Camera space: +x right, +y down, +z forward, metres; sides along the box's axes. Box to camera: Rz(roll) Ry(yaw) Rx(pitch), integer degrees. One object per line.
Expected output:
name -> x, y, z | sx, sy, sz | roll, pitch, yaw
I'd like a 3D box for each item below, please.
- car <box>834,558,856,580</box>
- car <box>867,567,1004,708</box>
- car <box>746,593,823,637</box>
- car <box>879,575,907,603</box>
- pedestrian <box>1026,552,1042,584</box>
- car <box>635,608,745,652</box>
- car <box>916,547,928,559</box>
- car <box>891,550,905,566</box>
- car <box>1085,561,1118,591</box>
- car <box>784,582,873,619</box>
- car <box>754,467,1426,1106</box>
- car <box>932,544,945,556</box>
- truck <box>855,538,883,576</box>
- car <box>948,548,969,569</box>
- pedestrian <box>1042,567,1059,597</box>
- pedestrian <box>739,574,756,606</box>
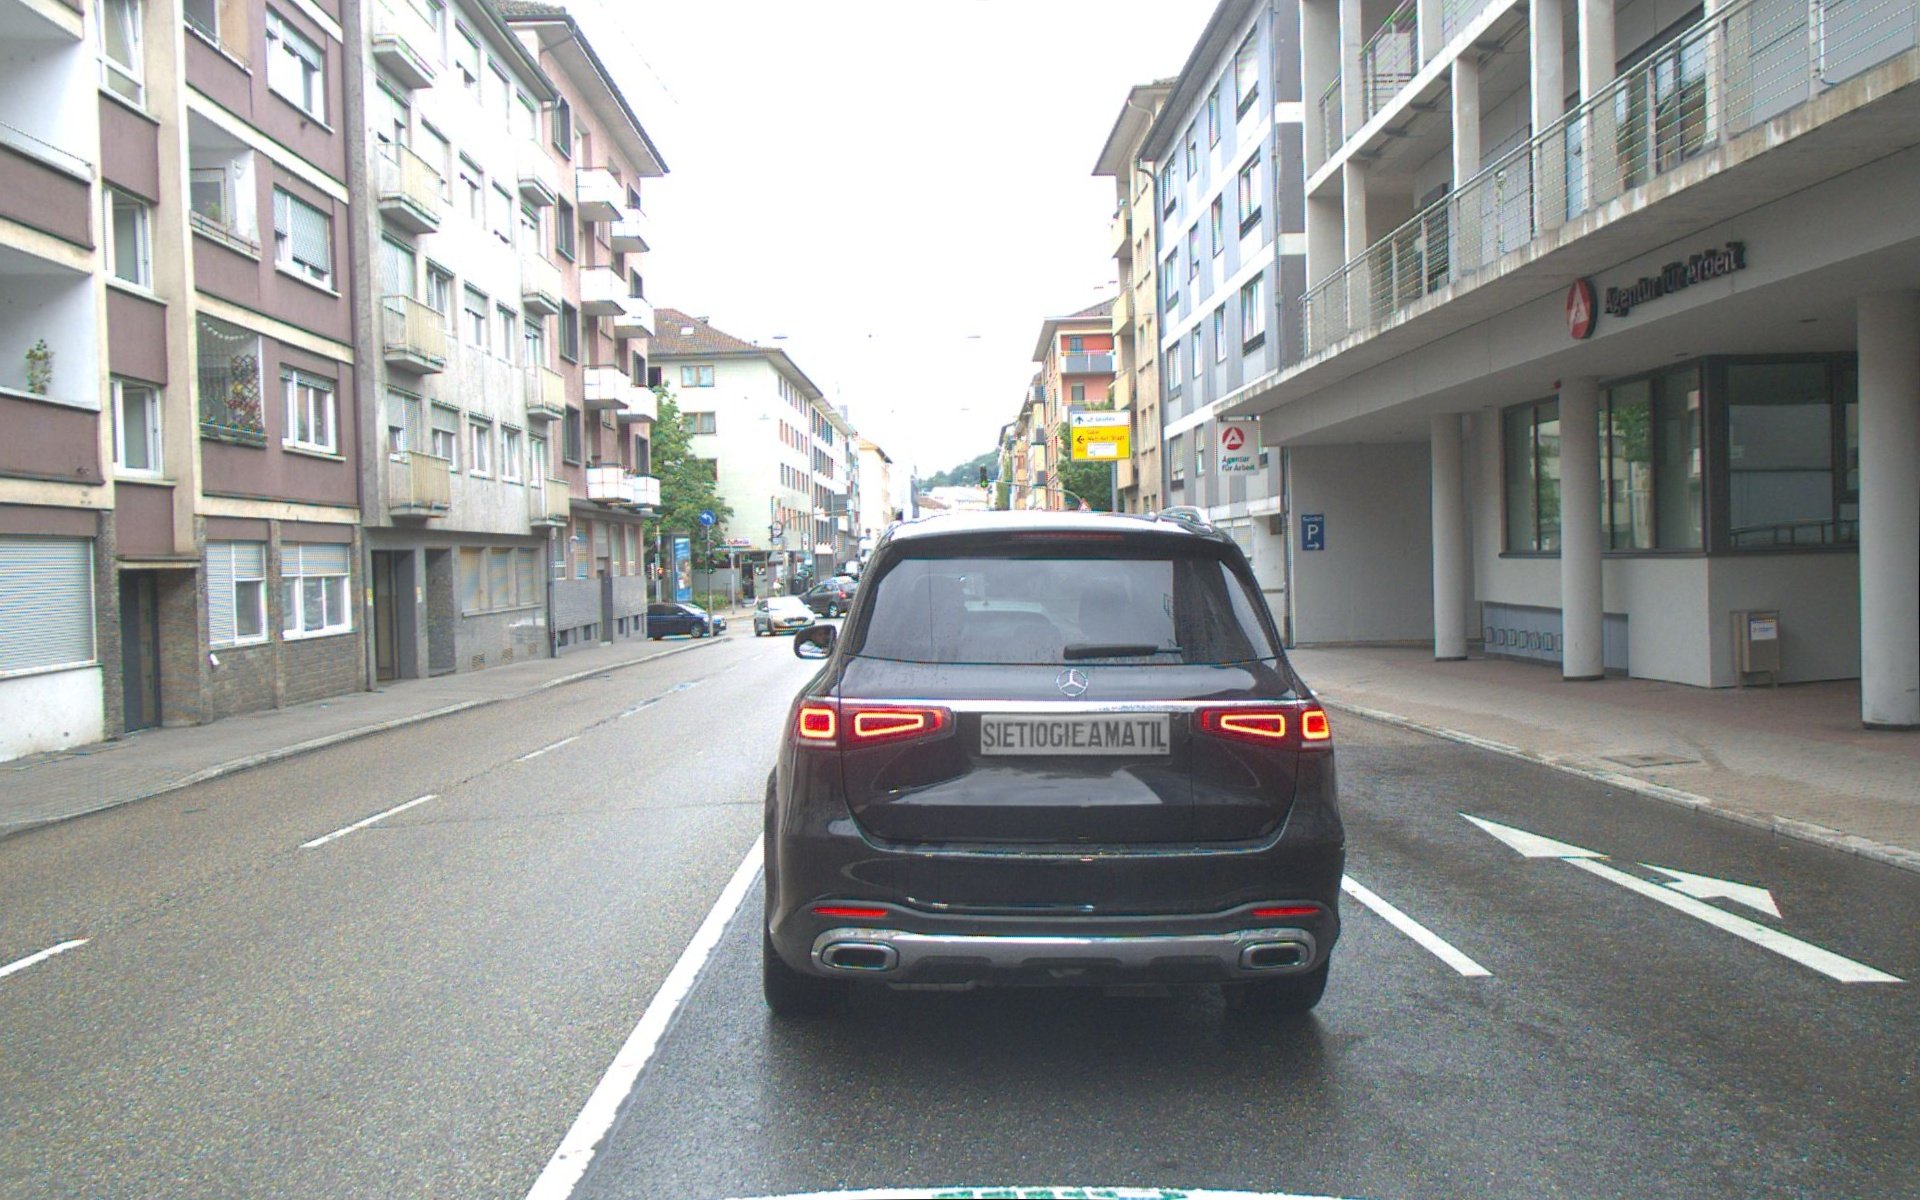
car -> -9.113, -2.472, 131.510 | 1.586, 1.566, 4.215 | -3, 0, -3
car -> -0.416, 0.487, 23.272 | 1.716, 1.762, 4.215 | -1, 0, -3
car -> -6.983, 0.613, 65.375 | 1.749, 1.566, 4.326 | -3, 0, -23
car -> -4.121, -0.633, 101.184 | 1.586, 1.566, 4.215 | -3, 0, -3
pedestrian -> 4.792, -2.076, 107.408 | 0.904, 2.049, 0.706 | -2, 0, -3
car -> -11.731, 1.285, 72.009 | 4.259, 1.735, 2.002 | -2, 0, 9
car -> -5.781, -7.164, 250.081 | 1.586, 1.566, 4.215 | -3, 0, -3
car -> -7.268, -4.917, 193.619 | 1.586, 1.566, 4.215 | -3, 0, -3
car -> 8.097, -1.346, 94.648 | 1.636, 1.616, 3.331 | -2, 1, 1
car -> -6.379, 0.033, 80.085 | 4.135, 1.566, 1.813 | -3, 0, 38
car -> 0.355, 0.558, 7.033 | 1.944, 1.836, 4.389 | 1, 0, -1
car -> -2.937, -6.945, 229.964 | 1.586, 1.566, 4.215 | -3, 0, -3
truck -> -8.589, -4.031, 156.957 | 2.430, 3.099, 9.914 | -3, 0, -3
car -> -0.180, -3.992, 159.871 | 1.689, 1.790, 4.215 | -3, -1, -3
pedestrian -> 5.507, -1.100, 100.914 | 0.904, 1.836, 0.706 | -2, 0, -3
pedestrian -> -13.099, -0.614, 101.839 | 0.904, 1.935, 0.706 | -2, 0, -3
